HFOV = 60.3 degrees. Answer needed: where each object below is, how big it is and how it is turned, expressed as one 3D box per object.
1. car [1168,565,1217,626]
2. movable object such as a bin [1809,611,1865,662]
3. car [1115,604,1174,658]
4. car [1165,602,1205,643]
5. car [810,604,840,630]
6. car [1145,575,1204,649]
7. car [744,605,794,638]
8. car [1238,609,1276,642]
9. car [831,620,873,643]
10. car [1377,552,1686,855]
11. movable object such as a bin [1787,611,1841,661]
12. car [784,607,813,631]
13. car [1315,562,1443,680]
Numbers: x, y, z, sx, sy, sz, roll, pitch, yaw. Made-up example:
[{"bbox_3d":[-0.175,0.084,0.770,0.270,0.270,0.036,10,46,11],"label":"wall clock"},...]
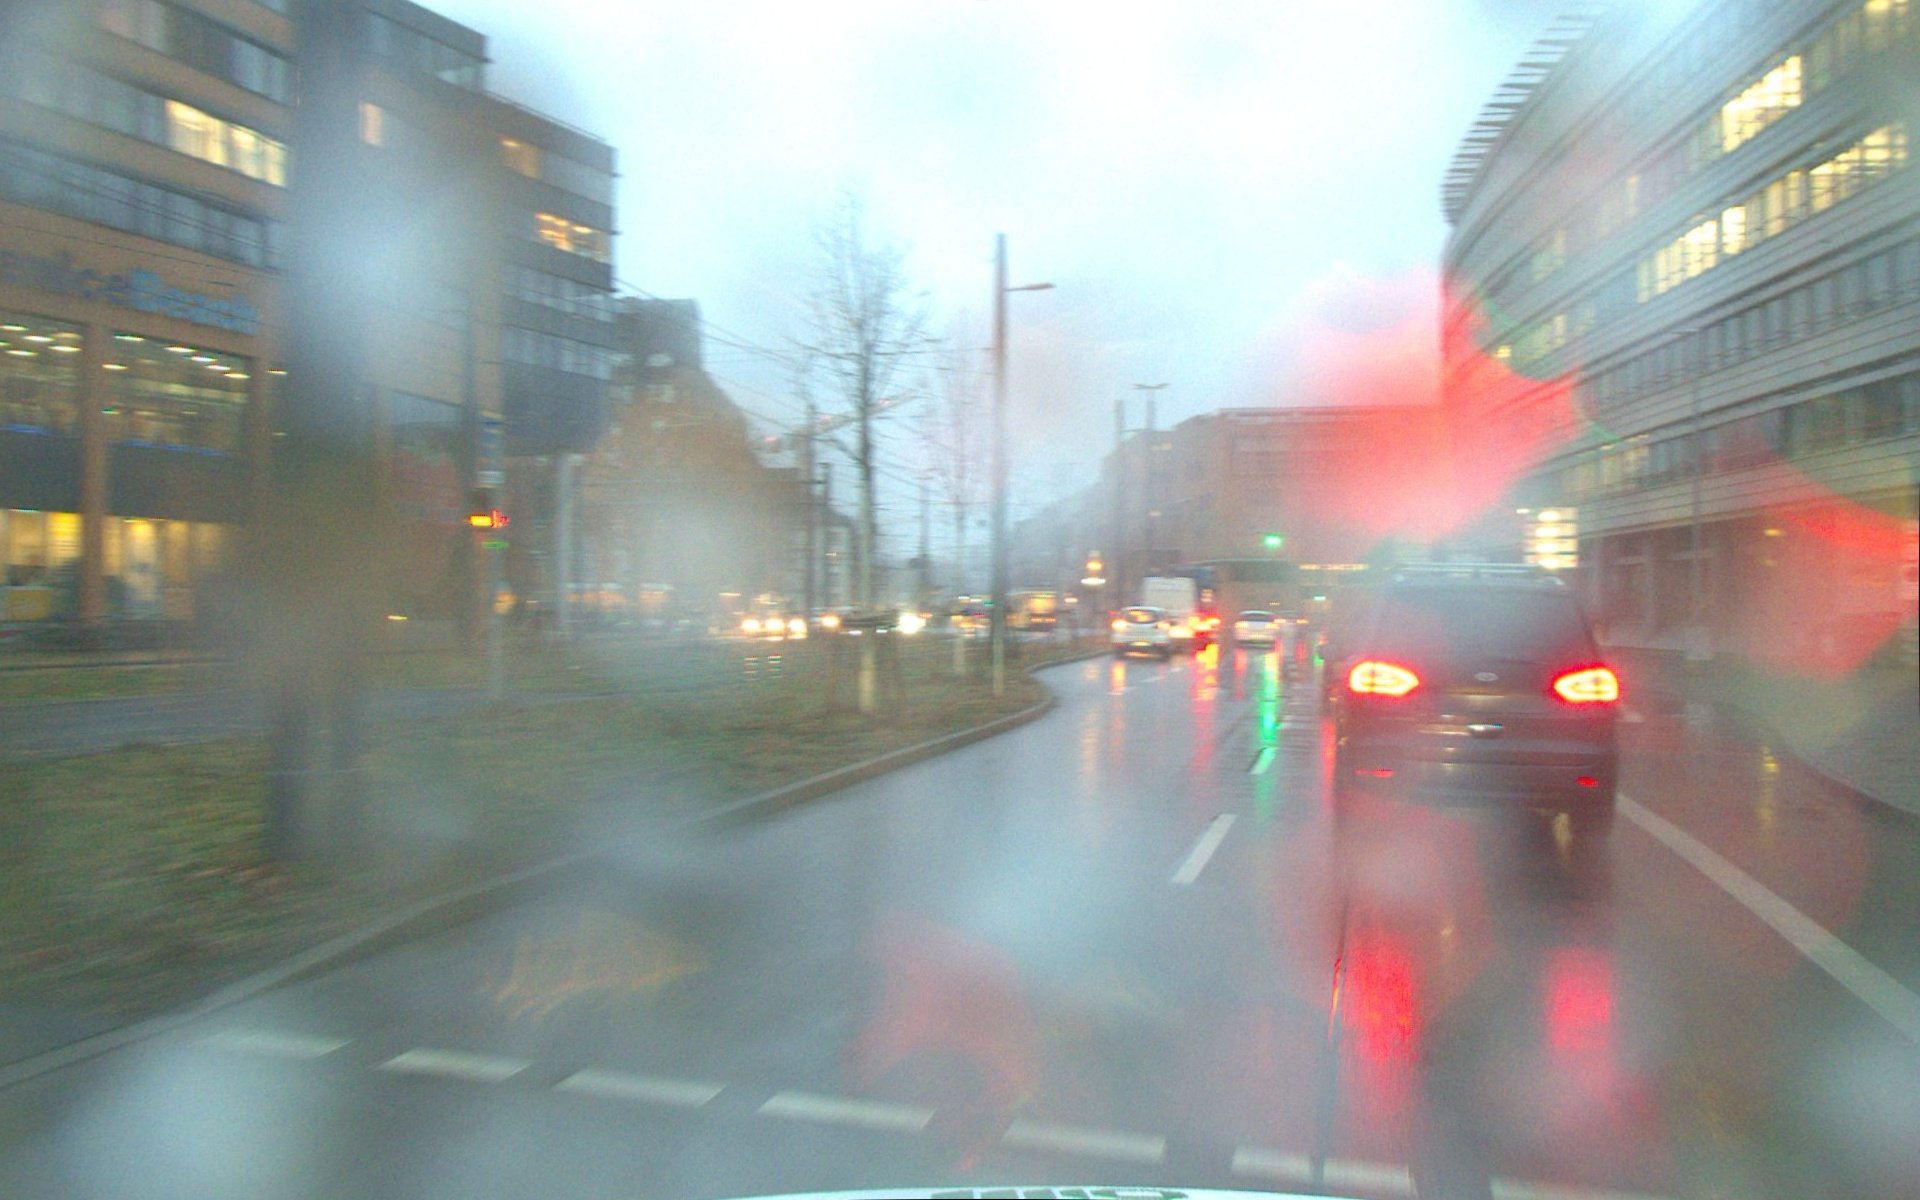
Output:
[{"bbox_3d":[11.537,-0.186,82.113,2.305,2.876,6.363,0,-1,8],"label":"car"},{"bbox_3d":[23.326,0.972,44.007,0.826,1.317,1.168,-2,-1,0],"label":"movable object such as a bin"},{"bbox_3d":[5.624,0.909,50.160,1.603,1.522,3.688,0,0,9],"label":"car"},{"bbox_3d":[8.892,0.908,65.511,1.485,1.547,3.472,0,-1,7],"label":"car"},{"bbox_3d":[-7.374,0.960,90.477,1.476,1.397,3.651,0,-1,-2],"label":"car"},{"bbox_3d":[7.572,0.429,58.794,1.951,2.470,5.978,0,0,6],"label":"car"},{"bbox_3d":[-8.612,0.956,75.014,1.777,1.467,3.956,0,0,0],"label":"car"},{"bbox_3d":[12.377,1.043,68.860,1.479,1.328,3.043,0,0,11],"label":"car"},{"bbox_3d":[-6.940,2.011,106.755,1.692,1.417,4.202,0,-1,10],"label":"car"},{"bbox_3d":[3.946,0.628,11.991,1.638,1.811,4.003,0,0,12],"label":"car"},{"bbox_3d":[23.361,0.974,45.271,0.826,1.317,1.168,-2,-1,0],"label":"movable object such as a bin"},{"bbox_3d":[-9.889,1.142,101.427,1.475,1.426,3.548,0,0,-1],"label":"car"},{"bbox_3d":[7.036,0.331,28.138,1.804,1.838,4.490,0,0,10],"label":"car"}]
